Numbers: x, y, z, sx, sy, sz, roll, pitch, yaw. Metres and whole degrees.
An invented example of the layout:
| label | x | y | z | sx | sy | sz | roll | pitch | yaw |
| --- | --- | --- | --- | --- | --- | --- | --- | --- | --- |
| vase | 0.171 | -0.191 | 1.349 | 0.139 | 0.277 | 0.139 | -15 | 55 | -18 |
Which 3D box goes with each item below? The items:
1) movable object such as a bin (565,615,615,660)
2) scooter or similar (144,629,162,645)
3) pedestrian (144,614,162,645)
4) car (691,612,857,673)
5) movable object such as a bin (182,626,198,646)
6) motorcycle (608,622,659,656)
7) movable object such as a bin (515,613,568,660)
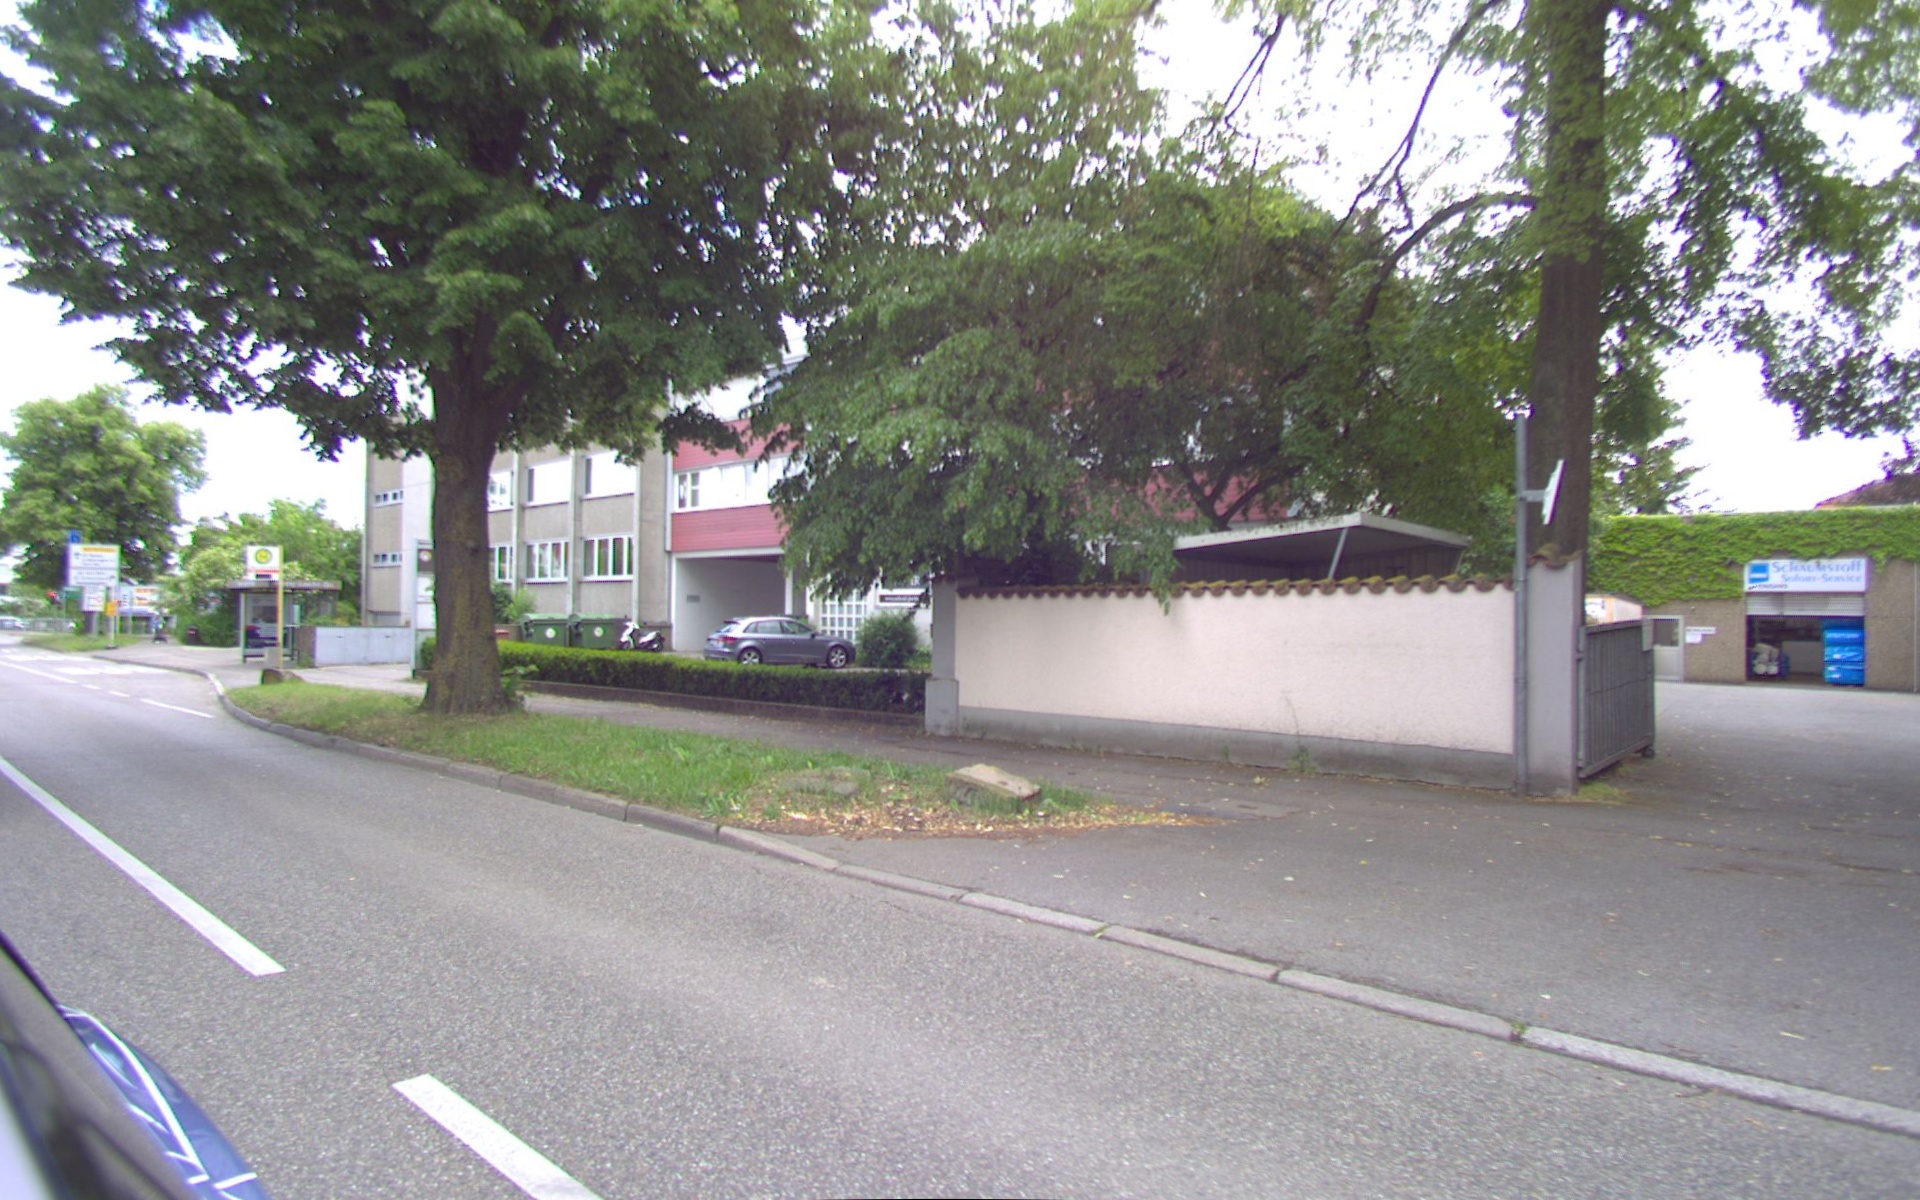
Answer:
| label | x | y | z | sx | sy | sz | roll | pitch | yaw |
| --- | --- | --- | --- | --- | --- | --- | --- | --- | --- |
| movable object such as a bin | -12.574 | 1.266 | 34.408 | 0.884 | 1.476 | 1.347 | 0 | 0 | 41 |
| scooter or similar | -40.832 | 1.875 | 51.212 | 0.598 | 0.792 | 0.861 | 0 | 0 | -32 |
| pedestrian | -41.479 | 1.488 | 52.038 | 0.662 | 1.570 | 0.521 | 0 | 0 | -32 |
| car | -5.026 | 1.101 | 27.517 | 4.082 | 1.490 | 1.817 | 0 | 0 | -35 |
| movable object such as a bin | -37.419 | 1.758 | 49.195 | 0.558 | 0.934 | 0.609 | 1 | -1 | -33 |
| motorcycle | -11.522 | 1.364 | 35.740 | 0.639 | 1.148 | 1.624 | 0 | 0 | 41 |
| movable object such as a bin | -13.714 | 1.189 | 33.169 | 0.992 | 1.476 | 1.285 | 0 | 0 | 41 |
